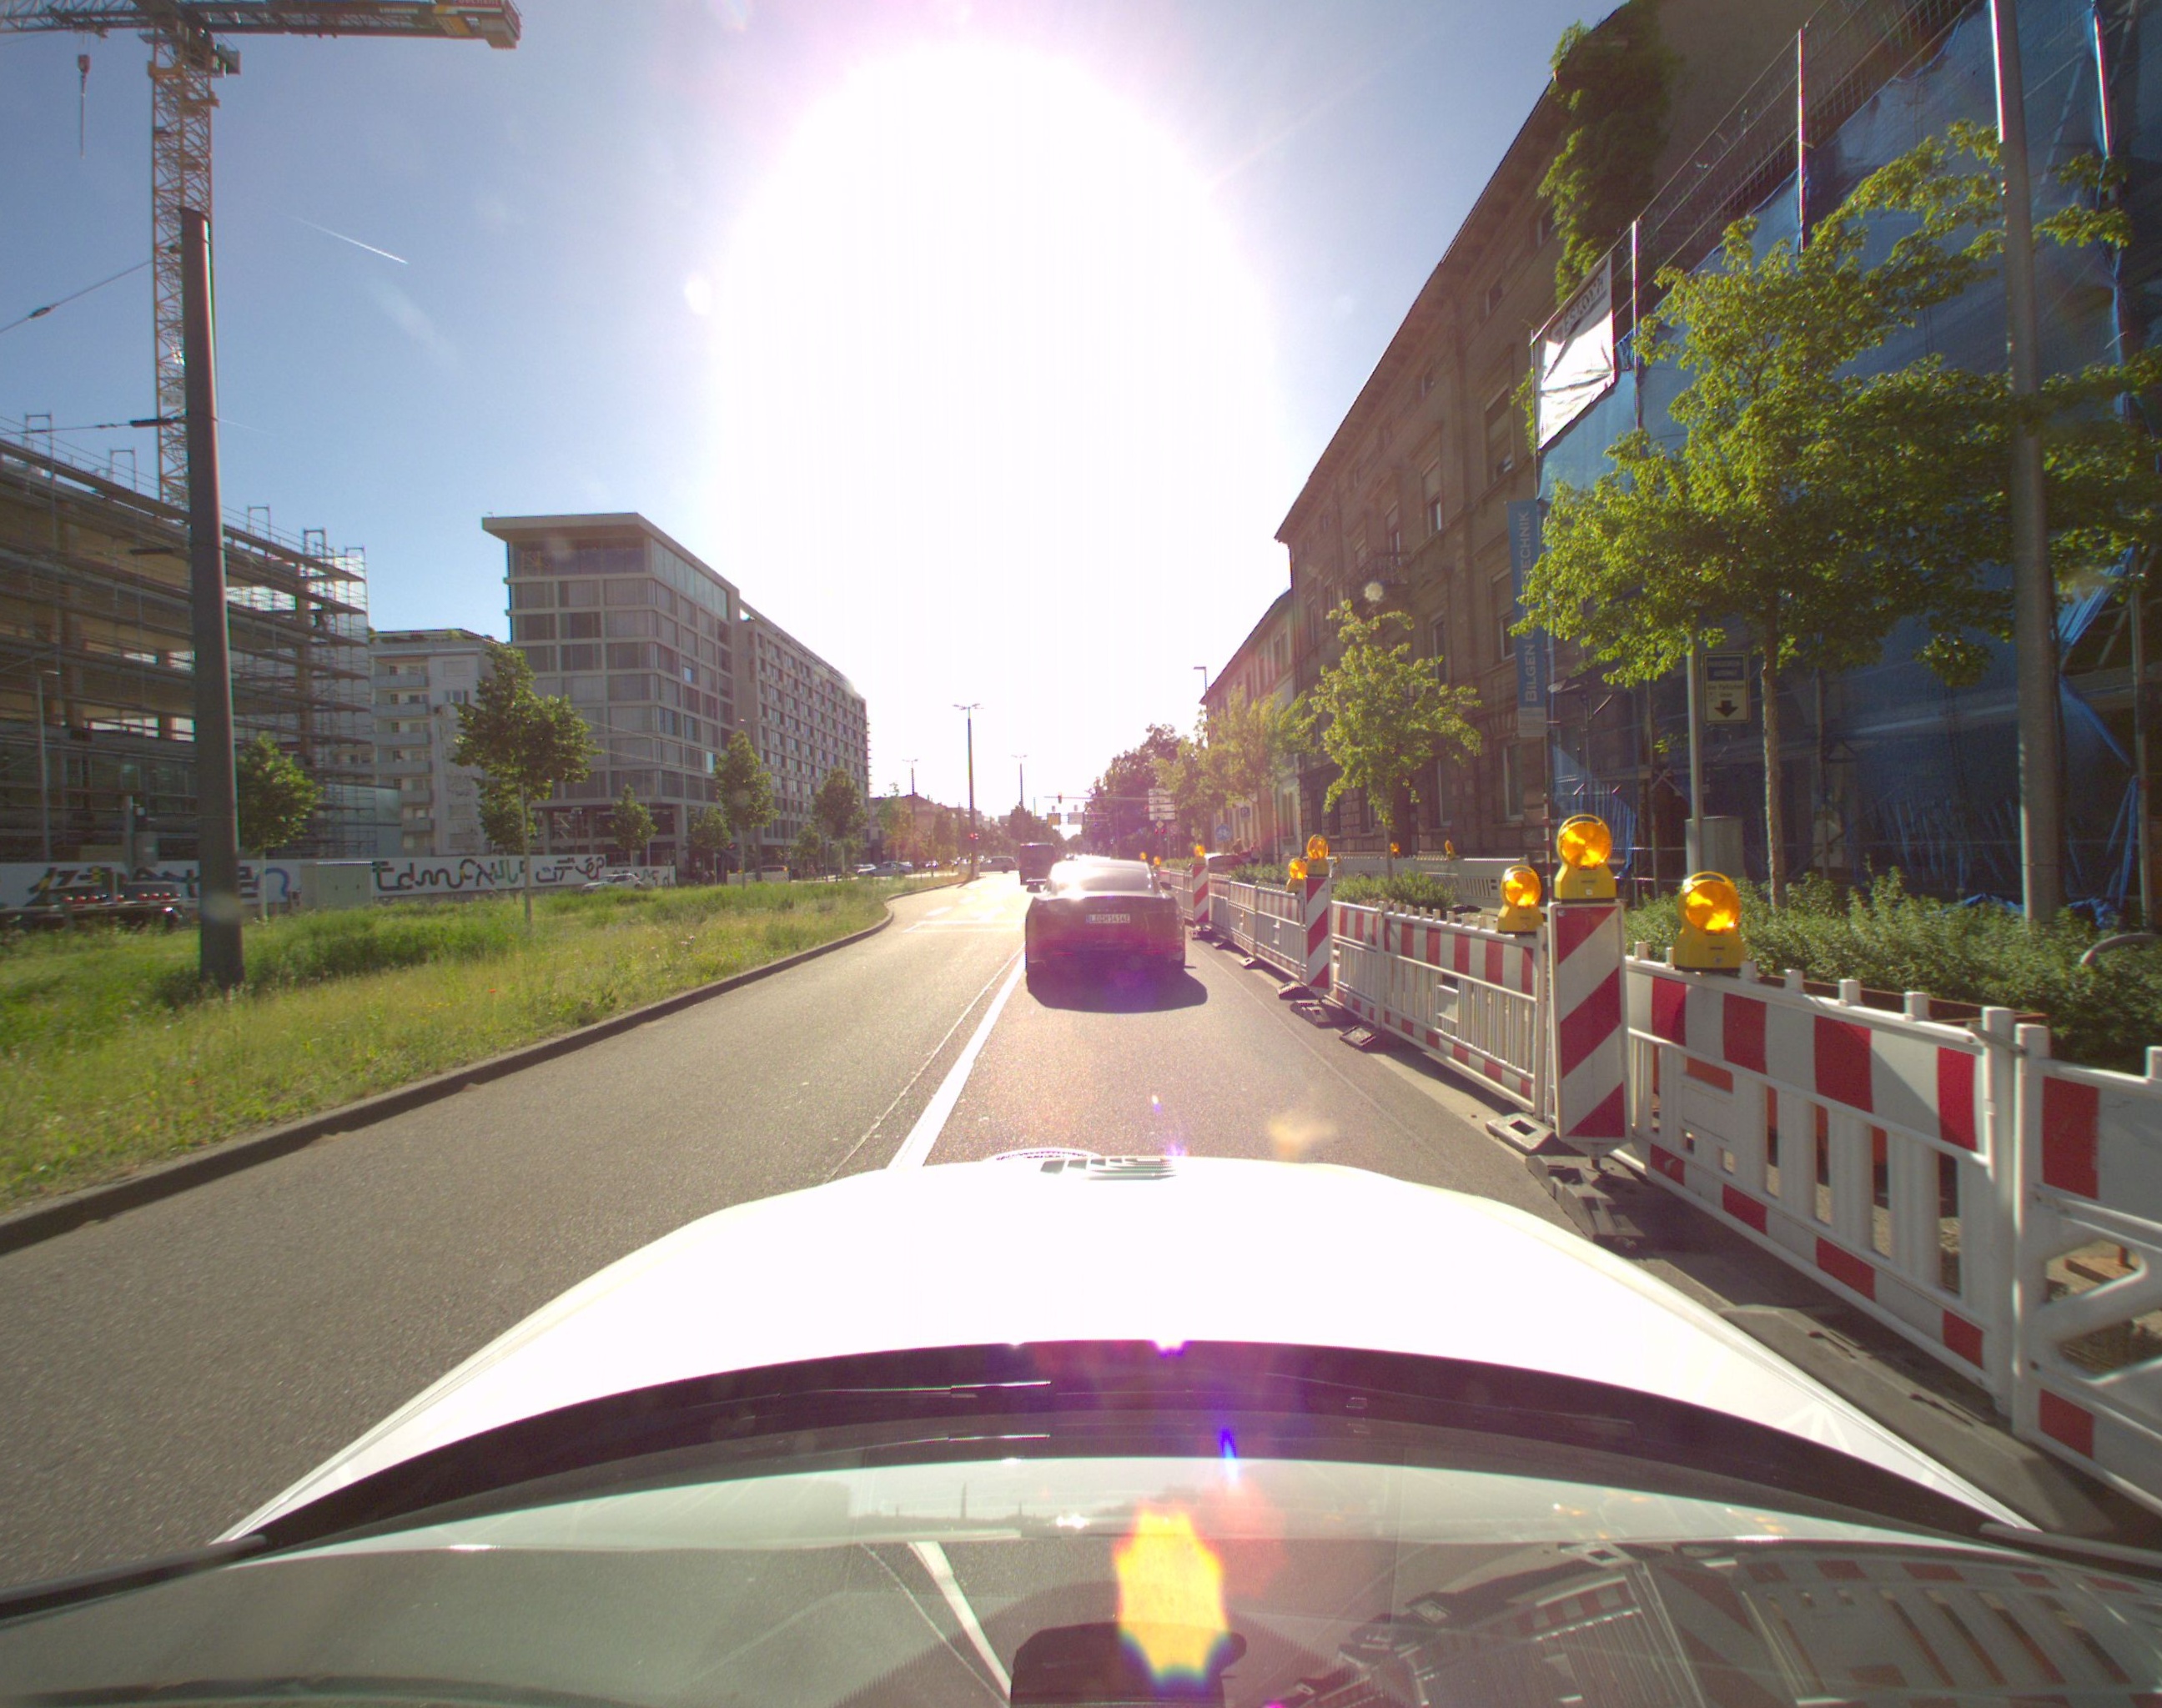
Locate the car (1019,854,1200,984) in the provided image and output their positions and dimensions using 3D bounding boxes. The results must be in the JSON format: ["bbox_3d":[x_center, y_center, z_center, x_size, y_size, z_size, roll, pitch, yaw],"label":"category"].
[{"bbox_3d":[0.332,0.735,11.484,2.045,1.444,4.523,0,0,0],"label":"car"}]

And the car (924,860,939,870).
[{"bbox_3d":[-26.301,1.949,143.405,1.784,1.651,4.000,-2,0,1],"label":"car"}]

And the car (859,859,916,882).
[{"bbox_3d":[-17.021,1.411,71.639,4.534,1.792,1.984,-2,0,-25],"label":"car"}]

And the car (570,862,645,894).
[{"bbox_3d":[-30.867,1.517,53.202,1.895,1.918,4.002,-2,0,15],"label":"car"}]

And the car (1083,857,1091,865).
[{"bbox_3d":[1.335,1.768,193.906,1.787,1.873,3.847,0,-1,-1],"label":"car"}]

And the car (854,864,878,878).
[{"bbox_3d":[-26.631,2.058,101.003,1.784,1.651,4.000,-2,0,1],"label":"car"}]

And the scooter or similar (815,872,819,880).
[{"bbox_3d":[-30.251,2.542,93.196,0.285,0.947,0.765,-2,0,-7],"label":"scooter or similar"}]

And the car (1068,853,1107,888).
[{"bbox_3d":[0.320,0.725,38.012,1.743,1.527,4.005,-1,0,1],"label":"car"}]

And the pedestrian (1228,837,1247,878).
[{"bbox_3d":[7.630,0.161,39.643,0.656,1.913,0.587,-5,0,-1],"label":"pedestrian"}]

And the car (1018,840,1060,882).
[{"bbox_3d":[-2.387,0.369,47.215,2.211,2.267,4.482,0,0,-1],"label":"car"}]

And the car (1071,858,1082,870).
[{"bbox_3d":[-0.716,1.653,130.218,1.787,1.873,3.847,0,-1,-1],"label":"car"}]

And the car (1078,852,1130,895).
[{"bbox_3d":[0.781,0.664,30.029,1.742,1.427,4.837,-1,0,0],"label":"car"}]

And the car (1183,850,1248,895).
[{"bbox_3d":[5.108,0.656,31.458,1.642,1.475,4.700,-4,0,0],"label":"car"}]

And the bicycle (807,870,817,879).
[{"bbox_3d":[-32.922,2.472,99.567,0.584,1.100,1.624,0,-1,4],"label":"bicycle"}]

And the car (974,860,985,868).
[{"bbox_3d":[-22.997,2.282,184.915,1.802,1.651,4.000,-2,0,1],"label":"car"}]

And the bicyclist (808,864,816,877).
[{"bbox_3d":[-33.000,2.019,99.846,0.591,1.580,0.893,0,-1,4],"label":"bicyclist"}]

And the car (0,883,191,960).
[{"bbox_3d":[-30.037,1.933,24.354,1.901,1.918,4.333,-2,0,3],"label":"car"}]

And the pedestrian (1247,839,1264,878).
[{"bbox_3d":[8.470,0.214,39.624,0.561,1.821,0.587,-5,0,-1],"label":"pedestrian"}]

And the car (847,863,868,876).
[{"bbox_3d":[-31.558,2.173,114.991,1.784,1.651,4.000,-2,0,1],"label":"car"}]

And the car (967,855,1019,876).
[{"bbox_3d":[-7.903,1.021,73.758,4.503,1.792,1.997,-2,0,-4],"label":"car"}]

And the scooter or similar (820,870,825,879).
[{"bbox_3d":[-29.510,2.356,92.974,0.227,0.947,0.767,-2,0,1],"label":"scooter or similar"}]

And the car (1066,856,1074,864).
[{"bbox_3d":[-2.649,1.399,197.456,1.787,1.873,3.847,0,-1,-1],"label":"car"}]
